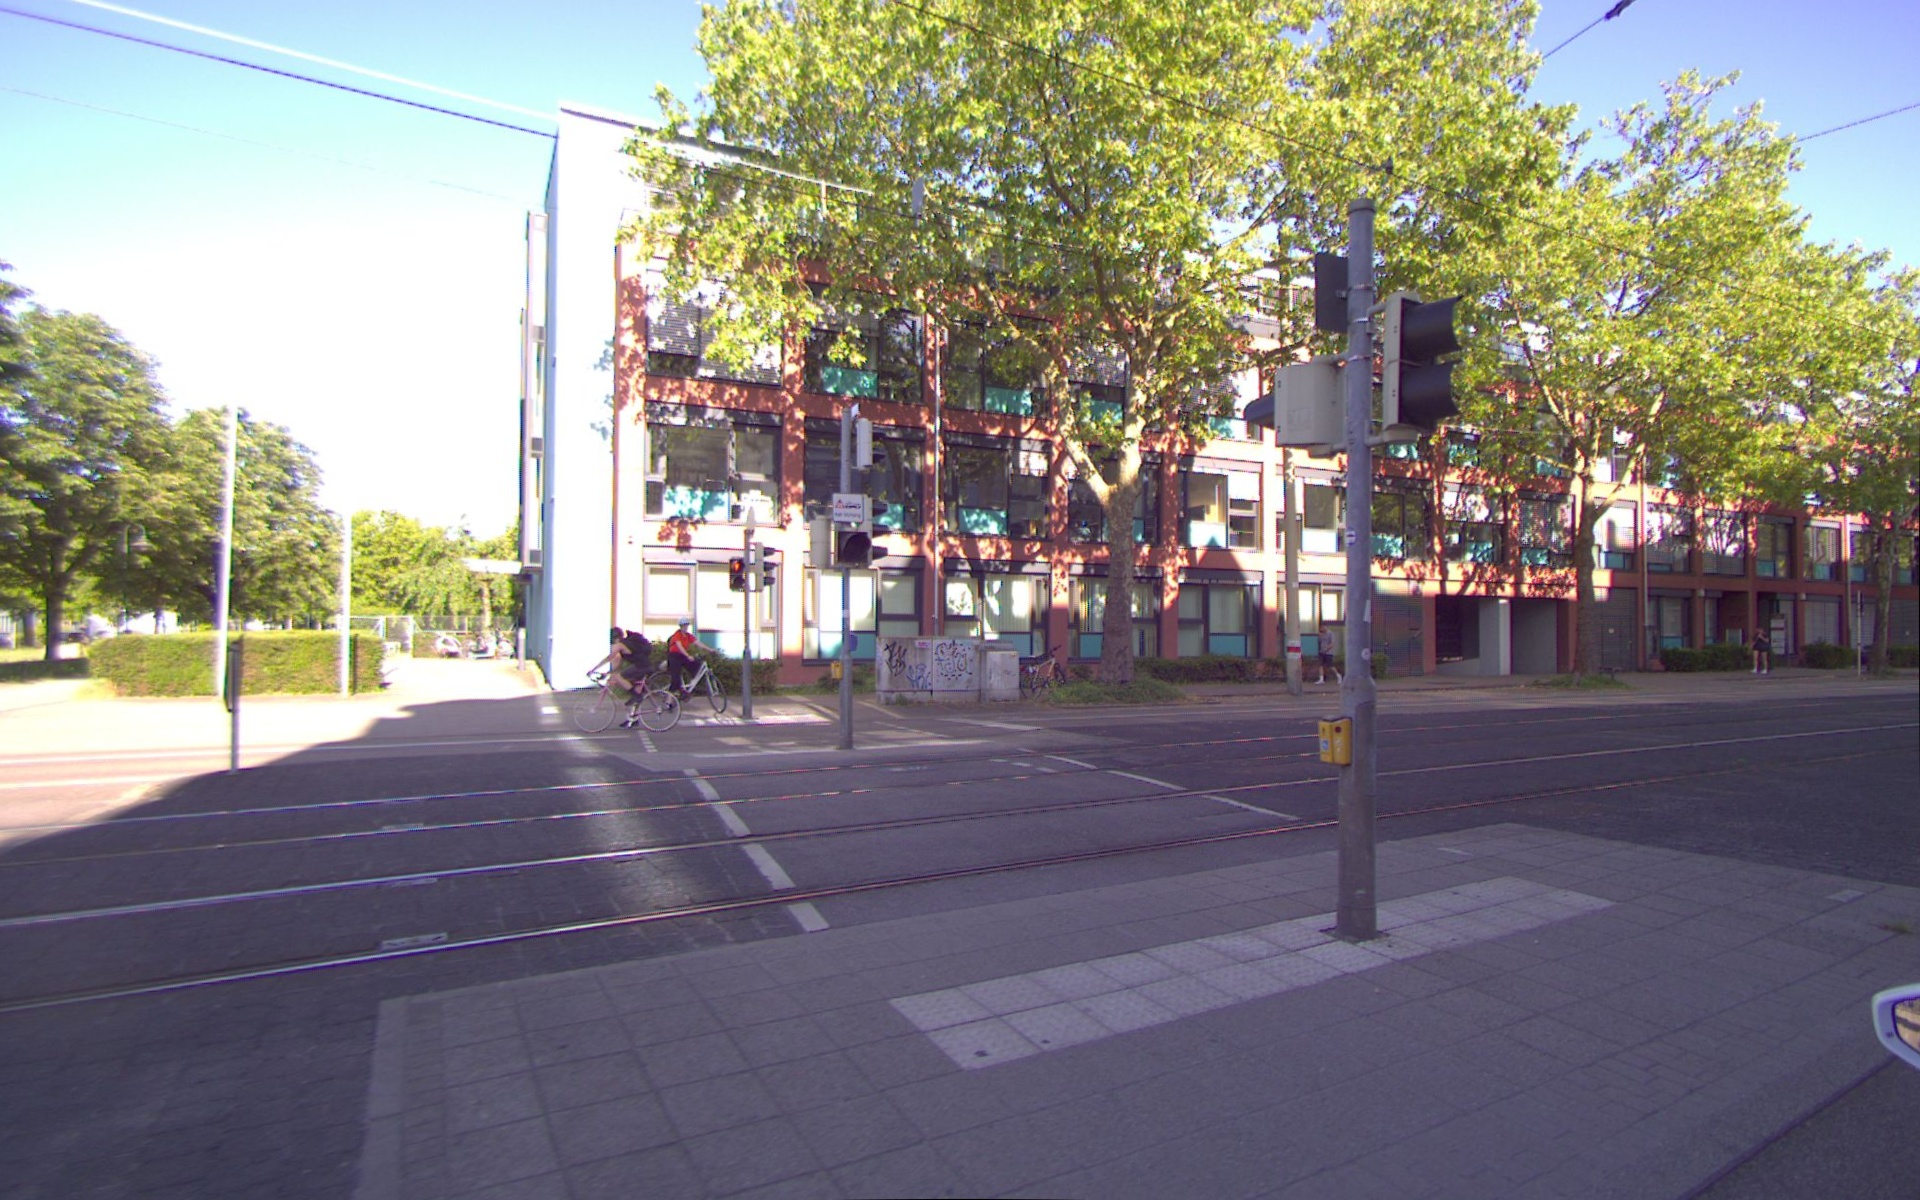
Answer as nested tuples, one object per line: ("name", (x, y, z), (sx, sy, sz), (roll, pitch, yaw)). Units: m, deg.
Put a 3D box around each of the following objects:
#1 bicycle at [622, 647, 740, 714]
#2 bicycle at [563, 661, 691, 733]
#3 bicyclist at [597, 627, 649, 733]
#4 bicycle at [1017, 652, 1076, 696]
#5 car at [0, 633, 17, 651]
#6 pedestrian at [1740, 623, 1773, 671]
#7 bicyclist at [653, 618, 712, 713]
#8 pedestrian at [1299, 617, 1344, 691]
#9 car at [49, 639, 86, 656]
("bicycle", (-5.178, 1.499, 18.722), (1.995, 1.144, 0.633), (2, 0, 0))
("bicycle", (-5.313, 1.530, 16.091), (1.895, 1.056, 0.644), (1, 0, -19))
("bicyclist", (-5.386, 1.259, 16.066), (0.769, 1.633, 0.644), (0, 0, -19))
("bicycle", (1.922, 1.629, 22.228), (0.514, 0.918, 1.536), (-1, -2, 41))
("car", (-93.048, 4.070, 96.833), (1.790, 1.765, 3.867), (0, -2, -22))
("pedestrian", (29.471, 1.711, 37.171), (0.888, 1.741, 0.623), (0, 0, -26))
("bicyclist", (-5.169, 1.209, 18.722), (0.914, 1.715, 0.607), (1, 0, 0))
("pedestrian", (10.275, 1.517, 28.543), (0.773, 2.040, 0.905), (0, 0, -34))
("car", (-98.682, 5.253, 111.087), (1.790, 1.765, 3.867), (0, -2, -22))
